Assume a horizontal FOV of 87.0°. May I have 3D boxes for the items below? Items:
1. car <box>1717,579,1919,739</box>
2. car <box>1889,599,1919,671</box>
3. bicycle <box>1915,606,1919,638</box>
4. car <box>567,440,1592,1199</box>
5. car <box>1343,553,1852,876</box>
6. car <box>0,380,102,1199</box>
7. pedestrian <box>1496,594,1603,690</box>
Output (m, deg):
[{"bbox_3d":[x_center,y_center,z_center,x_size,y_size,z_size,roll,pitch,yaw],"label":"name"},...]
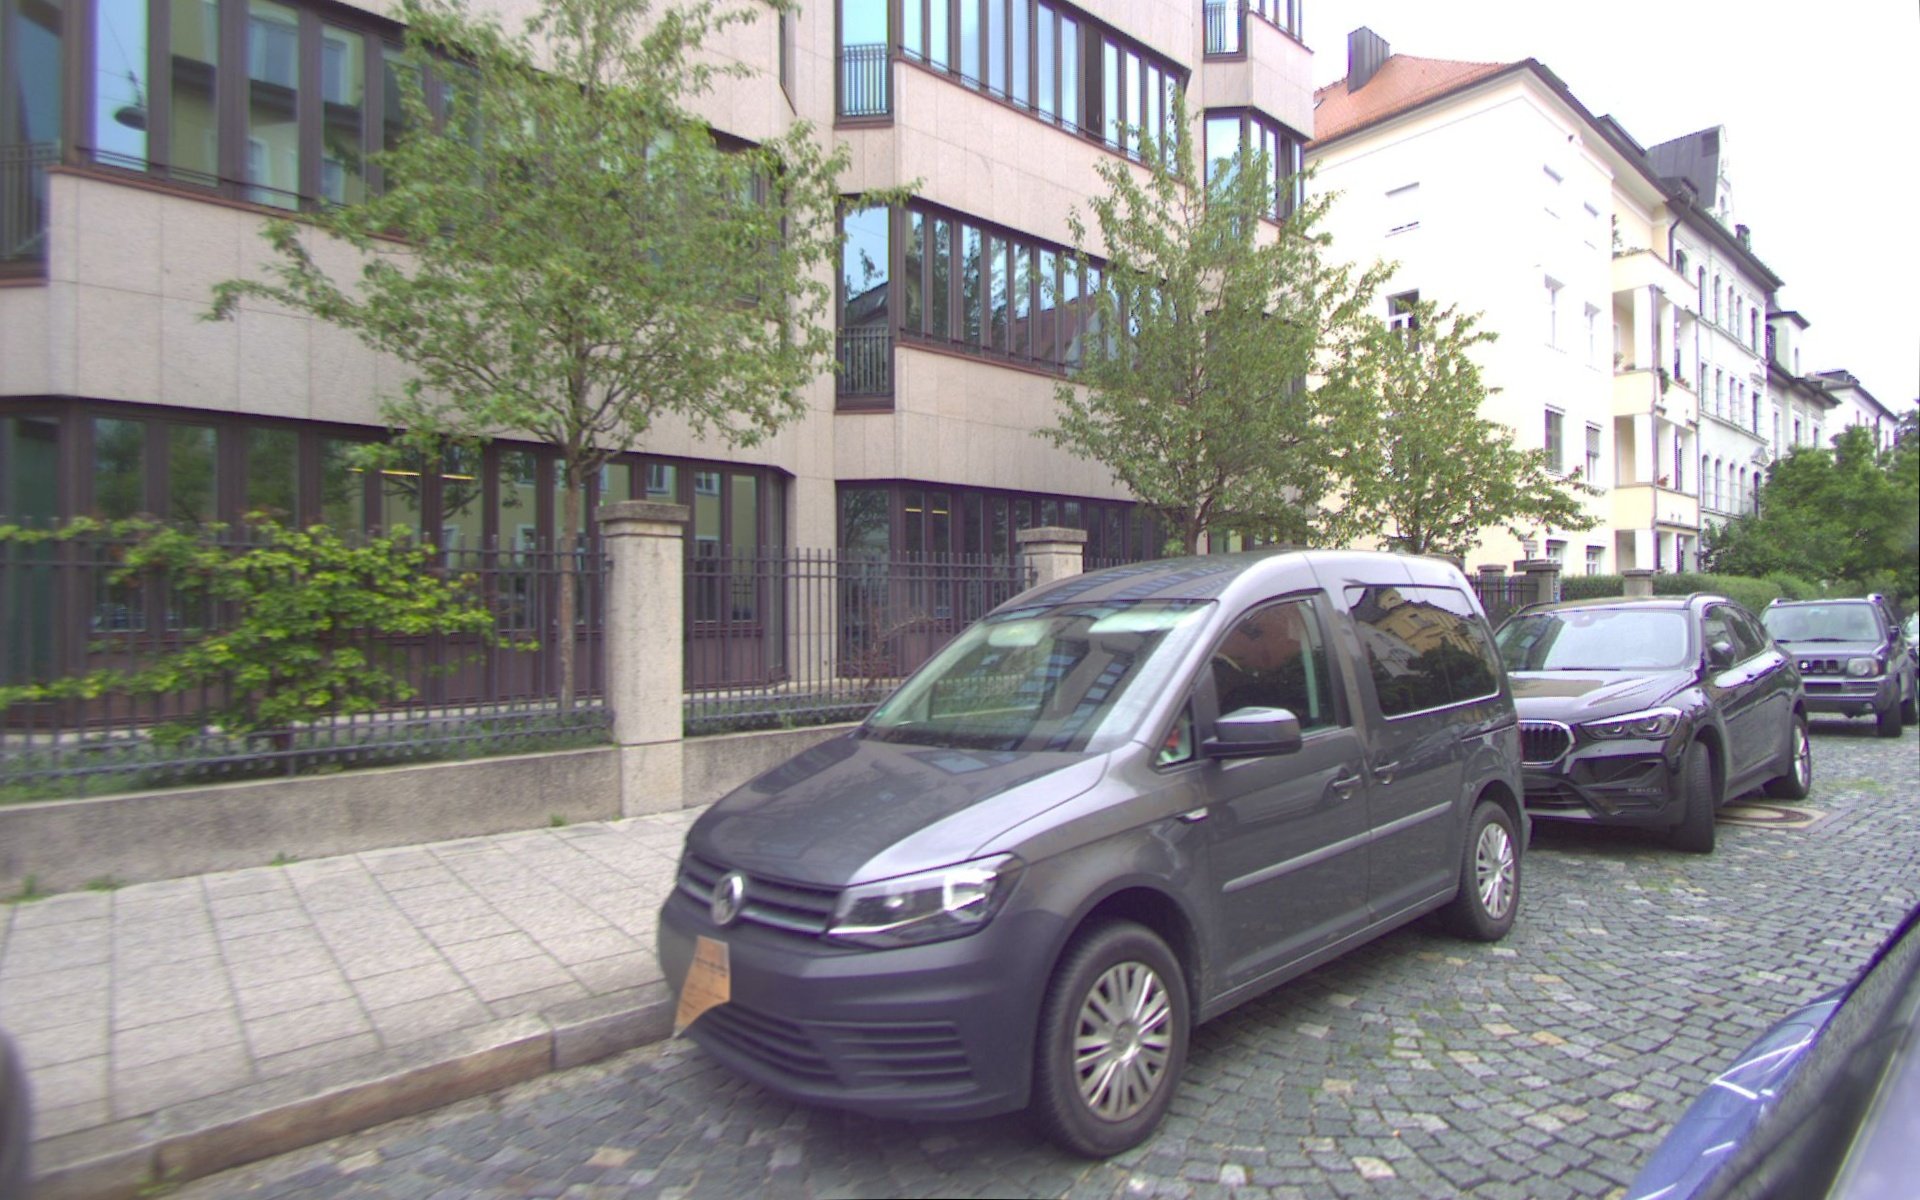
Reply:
[{"bbox_3d":[11.361,0.704,13.139,3.820,1.774,1.620,0,-4,-42],"label":"car"},{"bbox_3d":[23.378,0.747,23.511,4.926,1.572,1.996,0,-3,-41],"label":"car"},{"bbox_3d":[36.157,0.806,37.704,0.578,1.210,1.627,-2,-2,35],"label":"bicycle"},{"bbox_3d":[0.889,0.628,4.322,4.431,1.820,1.790,0,-5,-42],"label":"car"},{"bbox_3d":[5.040,0.667,7.688,4.728,1.724,1.863,0,-4,-40],"label":"car"},{"bbox_3d":[-3.450,0.662,0.515,4.577,1.758,1.875,0,-5,-41],"label":"car"},{"bbox_3d":[9.967,0.678,17.119,1.109,1.511,1.220,0,1,-38],"label":"pedestrian"}]
